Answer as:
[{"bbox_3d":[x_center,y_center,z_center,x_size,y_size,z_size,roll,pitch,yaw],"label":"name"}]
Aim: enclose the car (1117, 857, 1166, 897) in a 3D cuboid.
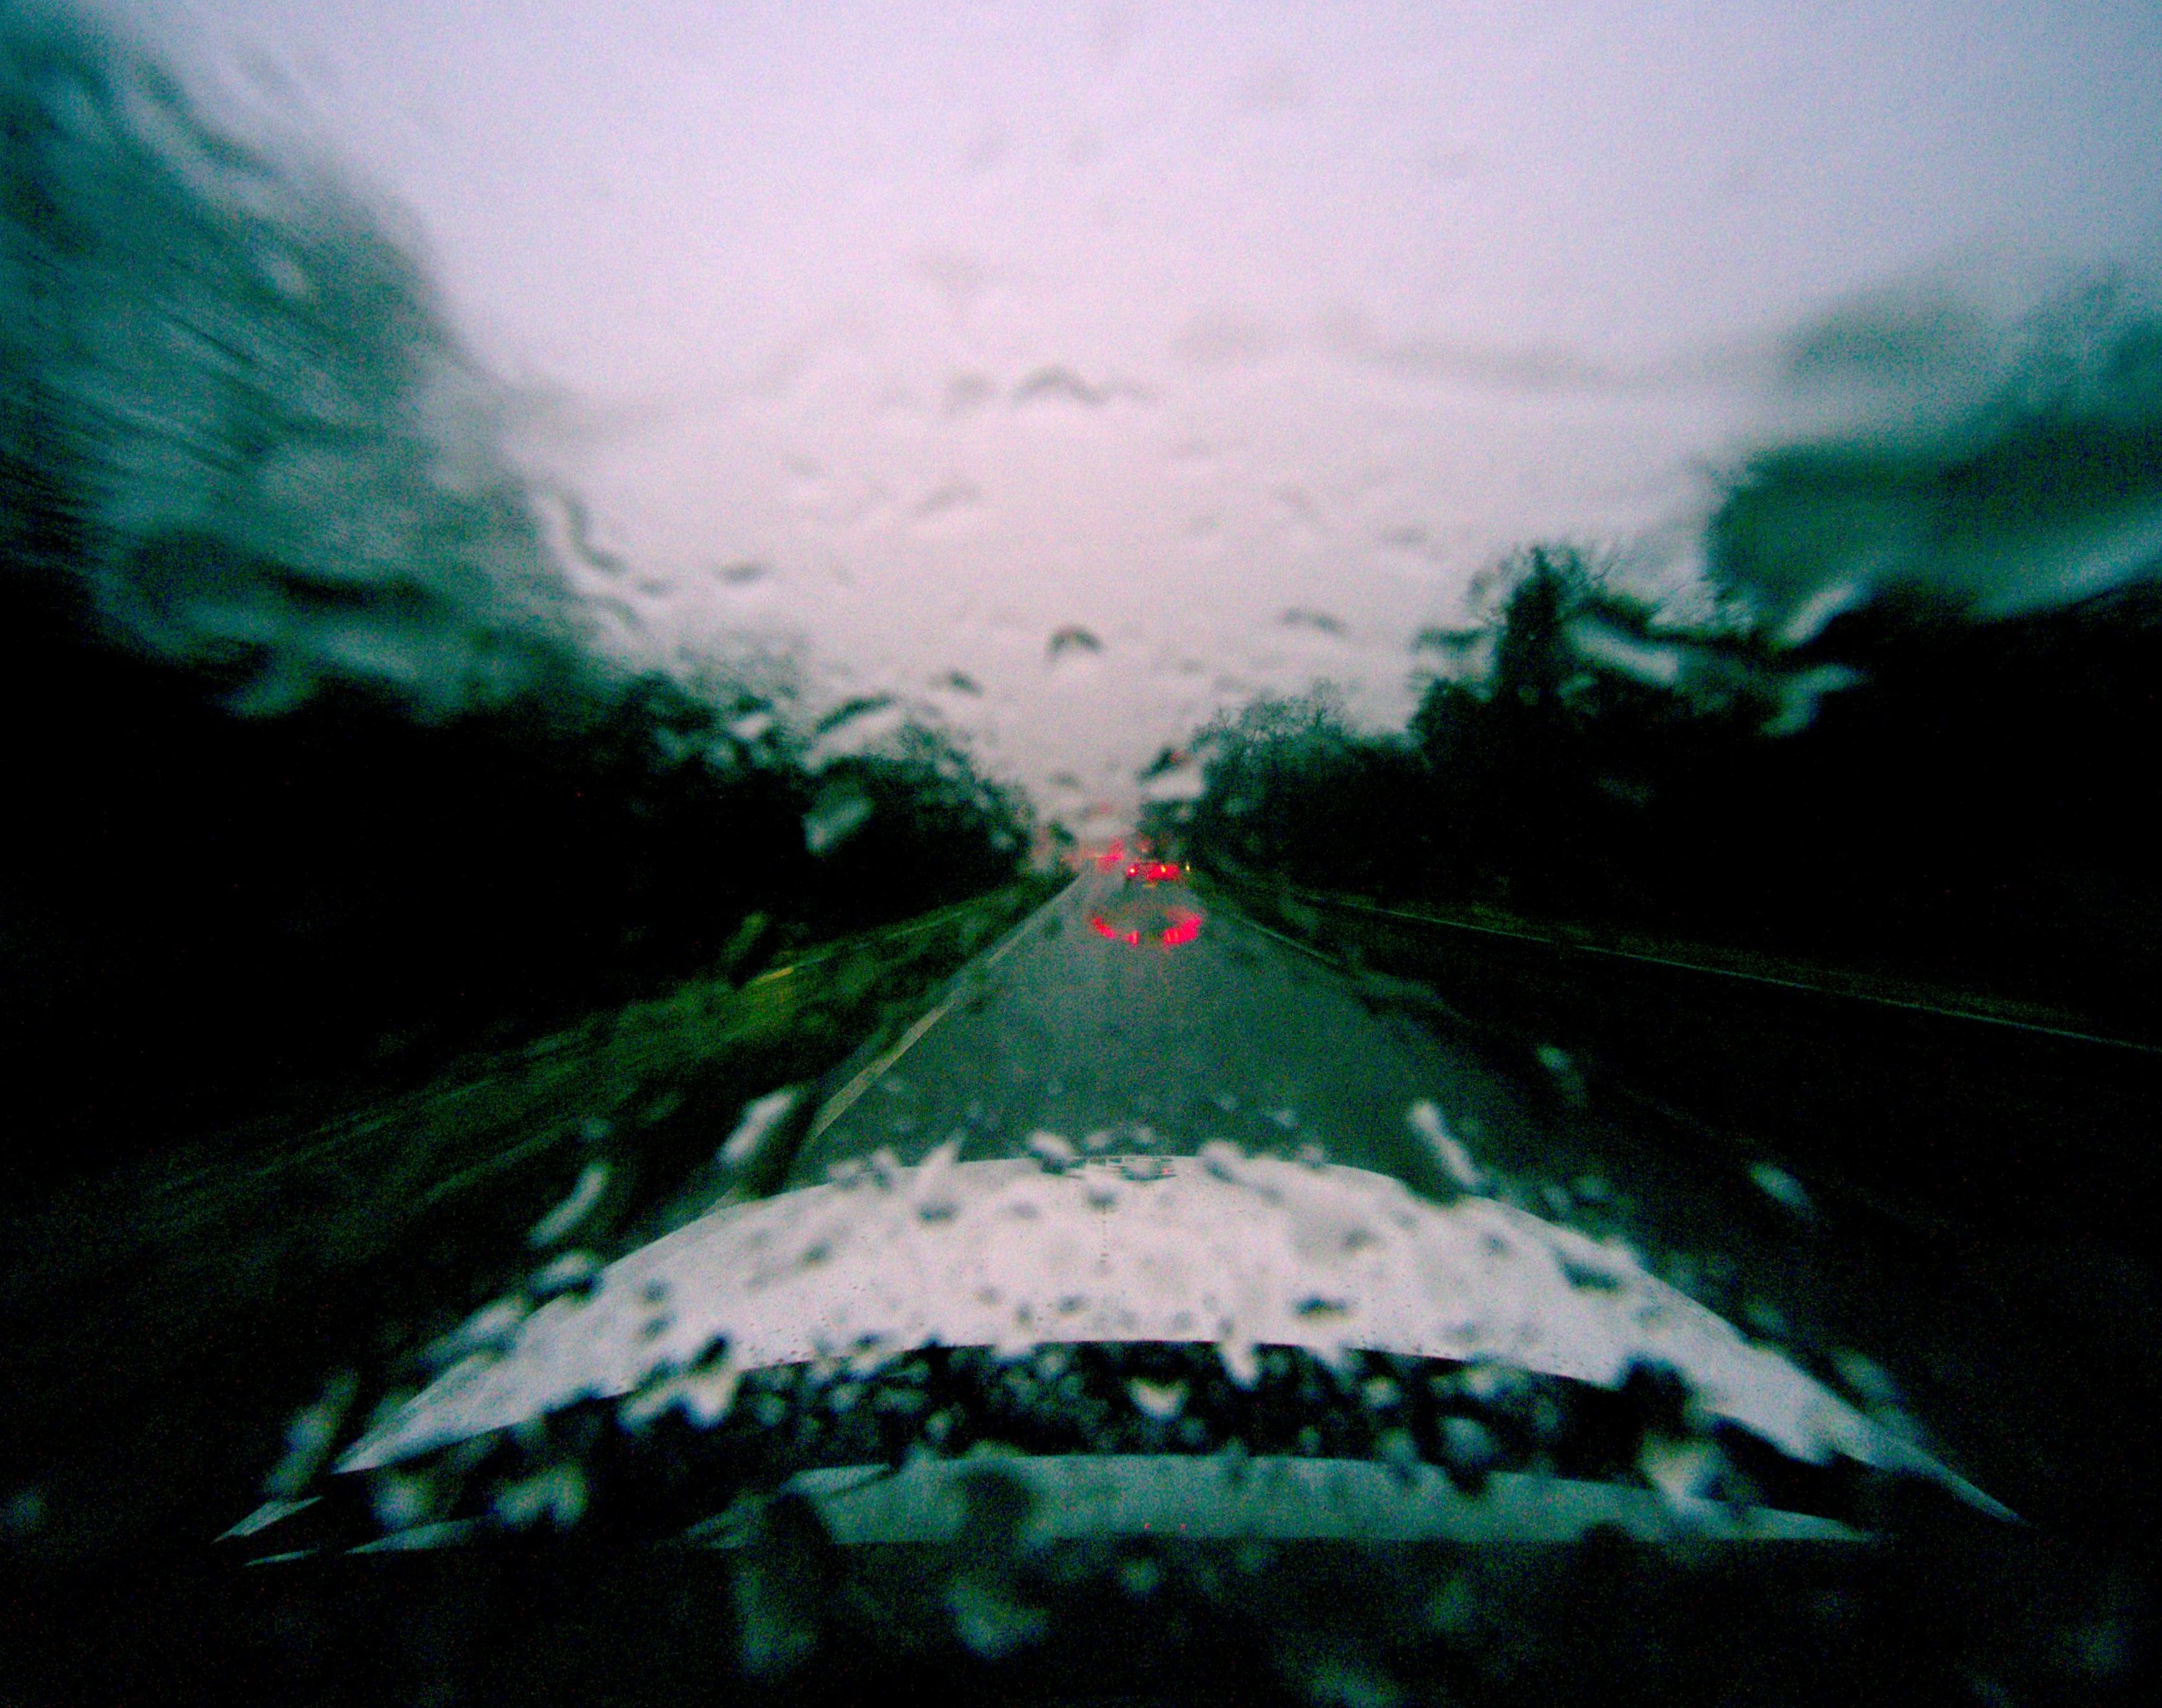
[{"bbox_3d":[2.364,0.883,32.492,1.725,1.429,3.767,-2,-1,2],"label":"car"}]
